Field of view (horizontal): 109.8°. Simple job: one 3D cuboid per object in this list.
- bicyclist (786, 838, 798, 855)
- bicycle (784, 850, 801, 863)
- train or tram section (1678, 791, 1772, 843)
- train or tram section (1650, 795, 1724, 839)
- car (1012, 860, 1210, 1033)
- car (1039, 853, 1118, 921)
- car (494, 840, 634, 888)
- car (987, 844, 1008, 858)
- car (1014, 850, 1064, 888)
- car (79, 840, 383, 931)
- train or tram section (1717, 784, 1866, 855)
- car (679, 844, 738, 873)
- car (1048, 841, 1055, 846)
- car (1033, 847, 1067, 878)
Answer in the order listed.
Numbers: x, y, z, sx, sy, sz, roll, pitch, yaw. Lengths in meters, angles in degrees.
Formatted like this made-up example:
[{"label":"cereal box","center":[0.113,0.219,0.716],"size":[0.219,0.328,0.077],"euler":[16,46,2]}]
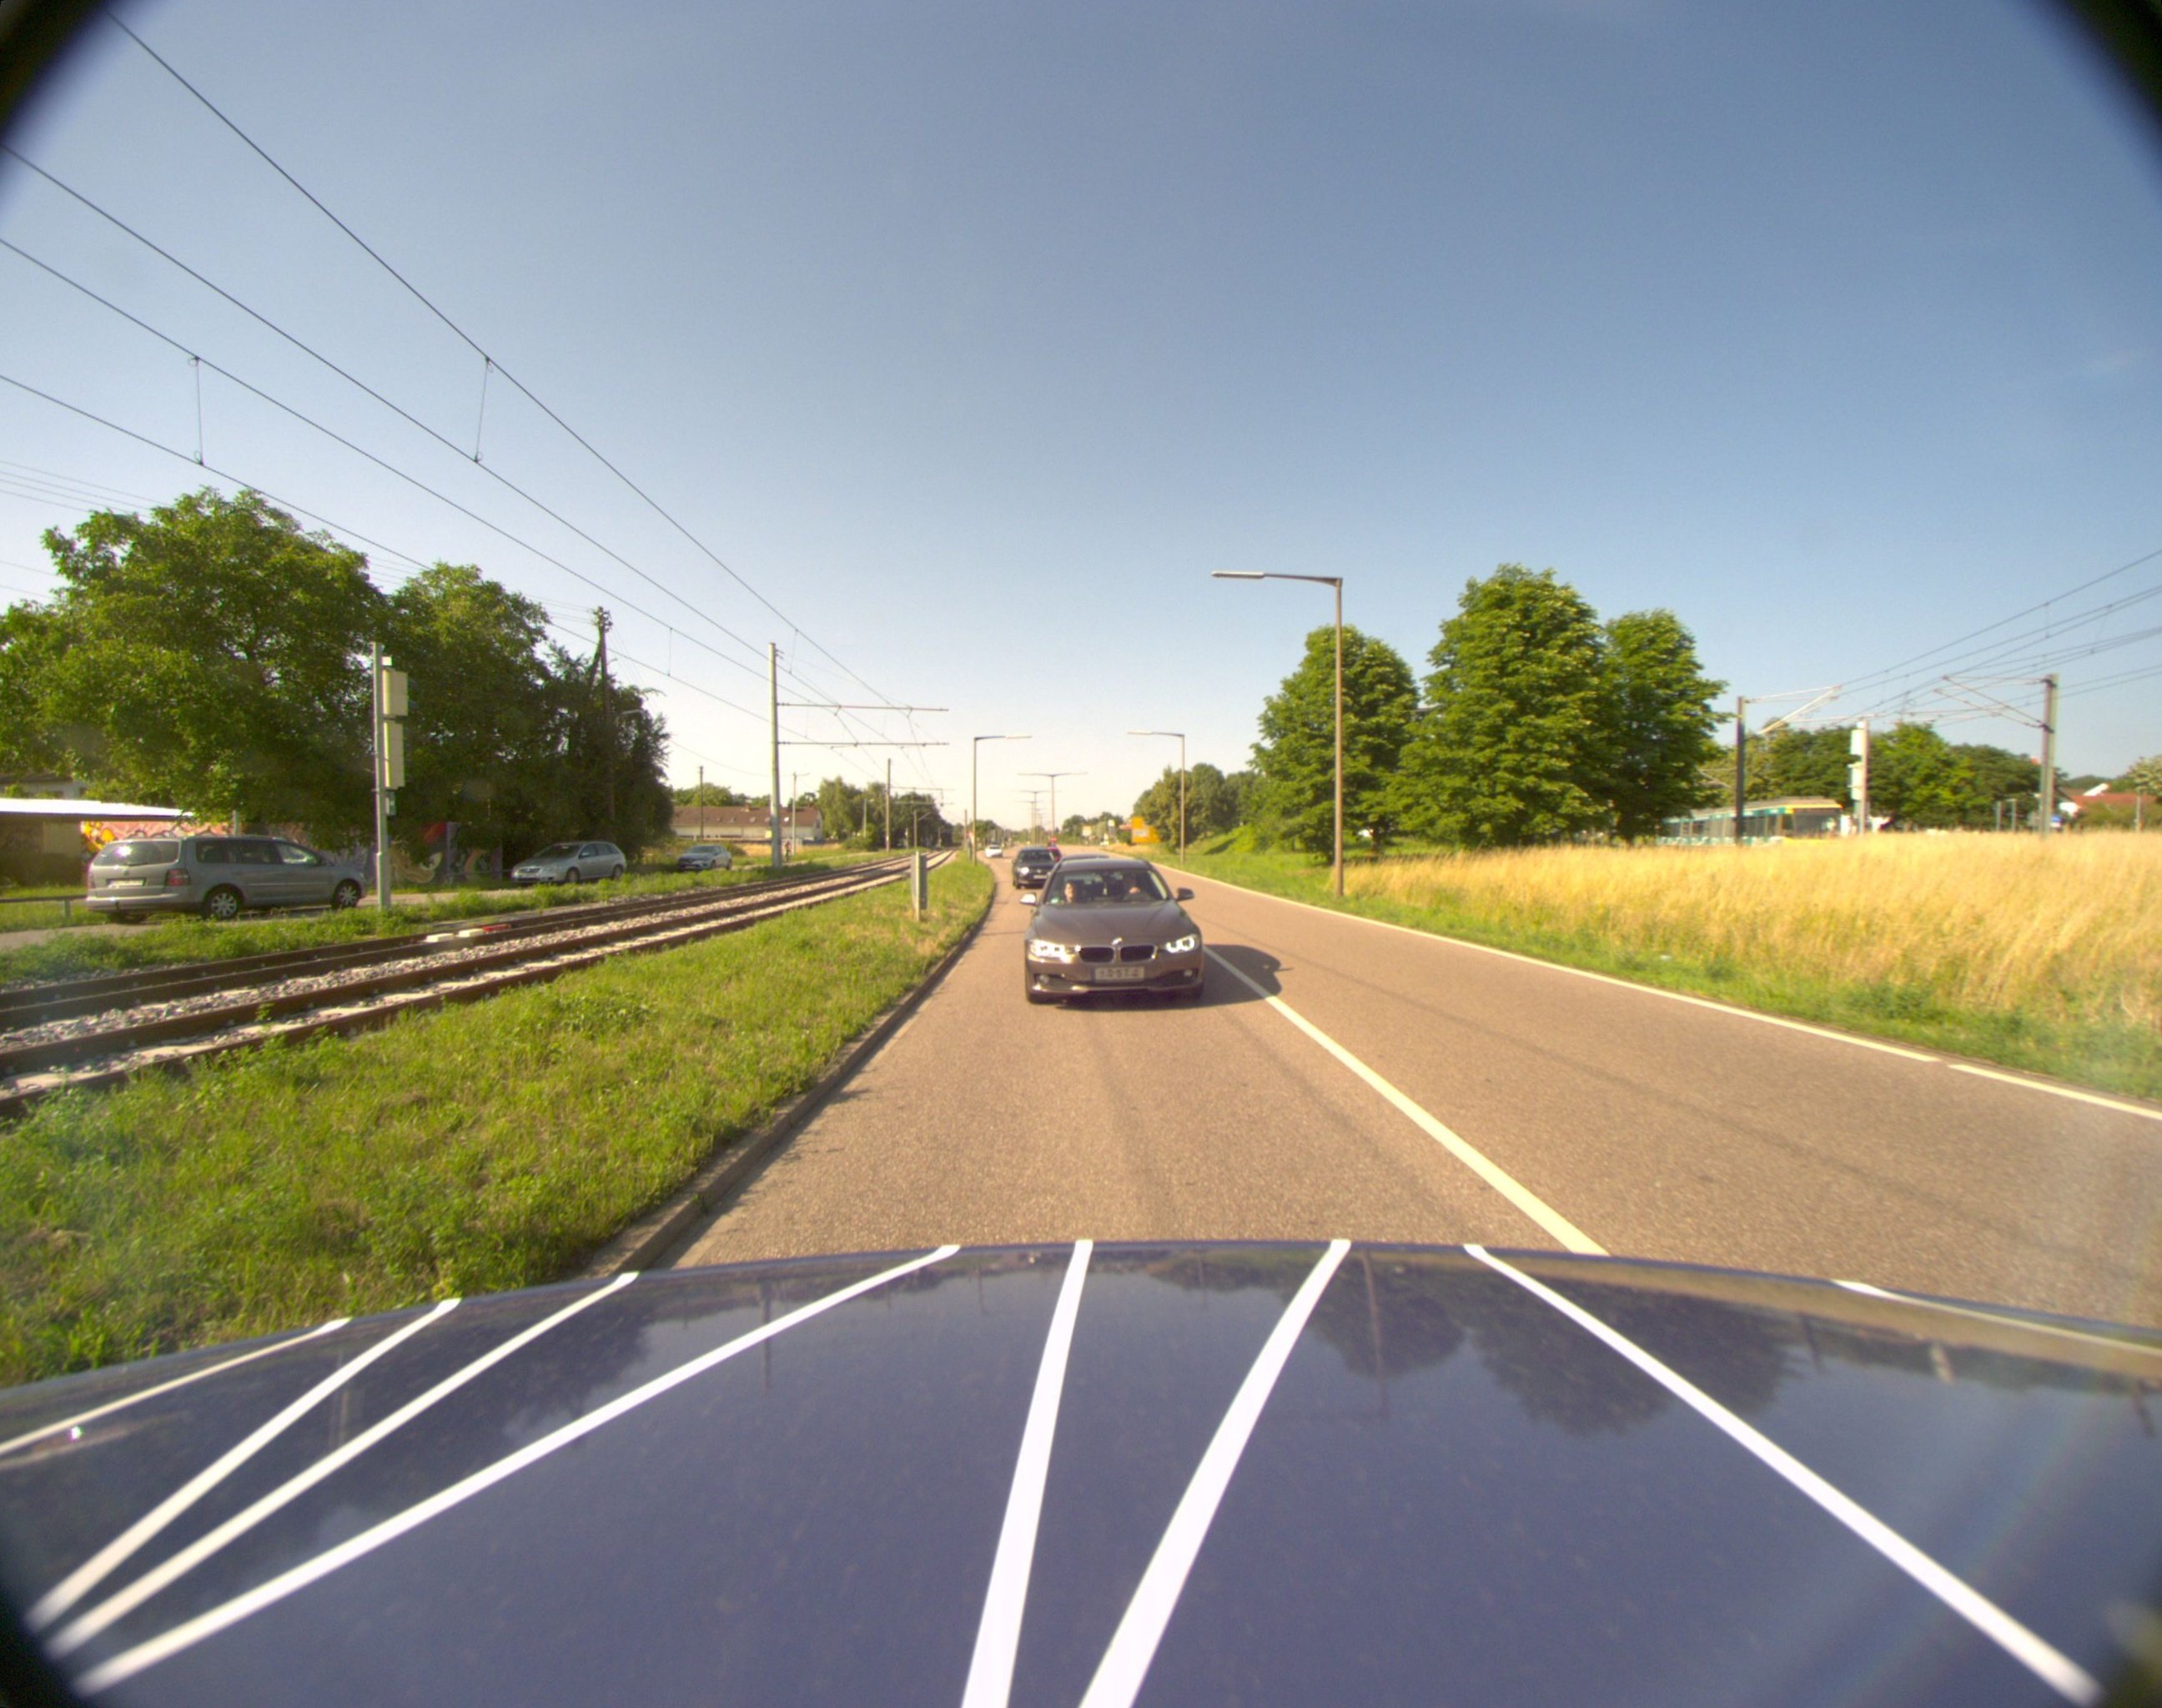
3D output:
[{"label":"bicyclist","center":[-21.261,-0.527,55.939],"size":[0.641,1.226,0.791],"euler":[-2,1,-6]},{"label":"bicycle","center":[-21.250,0.152,55.995],"size":[0.644,0.904,1.812],"euler":[-2,1,-5]},{"label":"train or tram section","center":[48.331,-2.787,57.455],"size":[2.919,3.435,12.184],"euler":[-1,2,28]},{"label":"train or tram section","center":[54.101,-3.244,68.205],"size":[2.952,3.465,12.185],"euler":[-1,1,28]},{"label":"car","center":[0.267,0.852,8.844],"size":[1.747,1.444,3.946],"euler":[-2,1,0]},{"label":"car","center":[-0.022,0.737,19.238],"size":[1.710,1.444,4.589],"euler":[-2,0,1]},{"label":"car","center":[-18.544,0.305,27.590],"size":[1.912,1.581,4.726],"euler":[0,1,-1]},{"label":"car","center":[-9.591,-0.370,87.094],"size":[1.970,1.609,4.302],"euler":[-1,1,-12]},{"label":"car","center":[-1.784,0.563,31.325],"size":[1.848,1.348,4.151],"euler":[-2,1,-5]},{"label":"car","center":[-17.075,0.525,15.672],"size":[1.527,1.601,4.481],"euler":[0,1,-6]},{"label":"train or tram section","center":[42.168,-2.173,45.819],"size":[2.908,3.549,14.280],"euler":[-1,3,28]},{"label":"car","center":[-19.469,0.173,39.866],"size":[1.539,1.440,4.127],"euler":[0,1,-7]},{"label":"car","center":[-9.374,-3.441,242.263],"size":[1.564,1.369,3.381],"euler":[-3,3,-10]},{"label":"car","center":[-1.705,0.422,41.063],"size":[1.608,1.504,4.265],"euler":[-2,1,-5]}]
